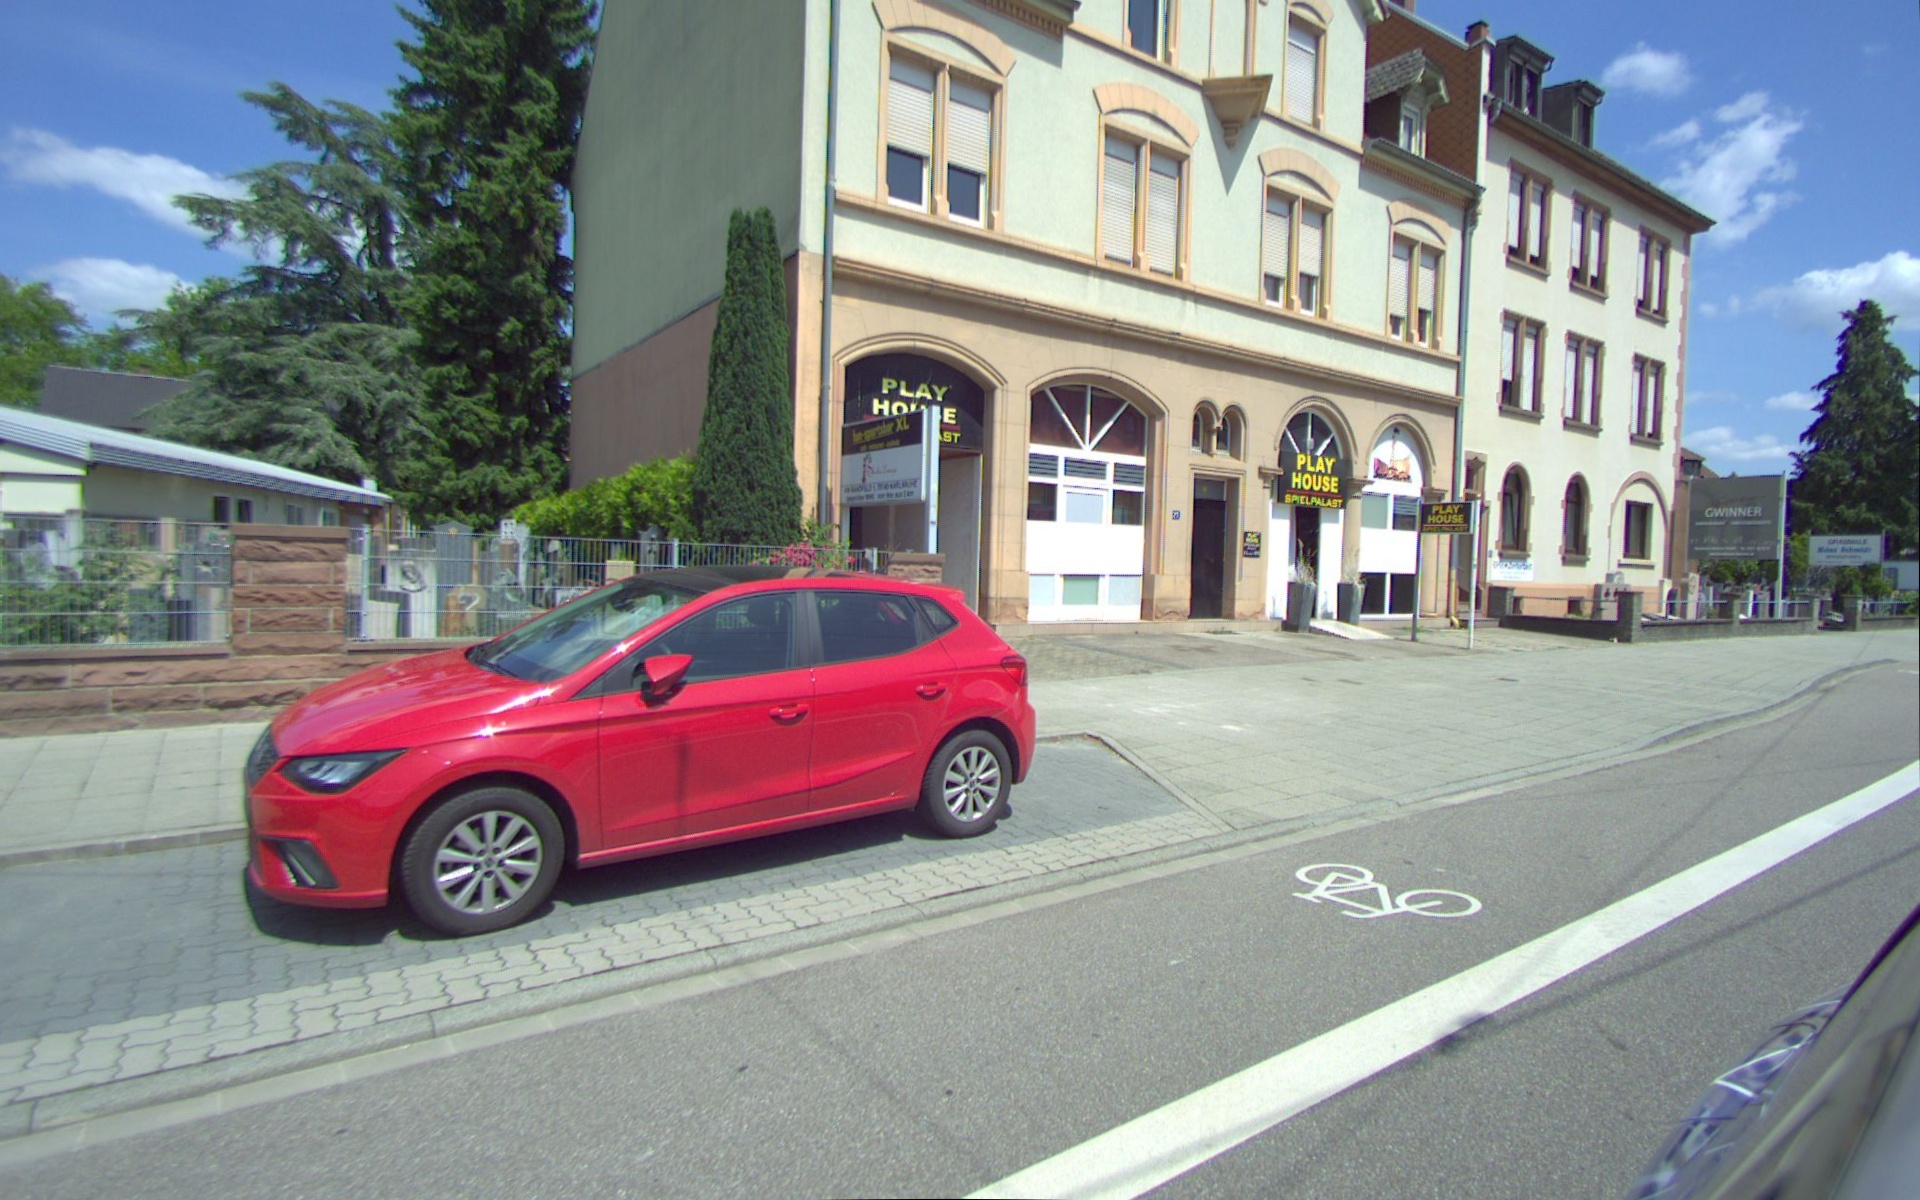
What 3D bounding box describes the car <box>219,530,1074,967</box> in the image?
[{"bbox_3d":[-1.446,0.447,5.399,3.998,1.470,1.717,-1,5,-38],"label":"car"}]
